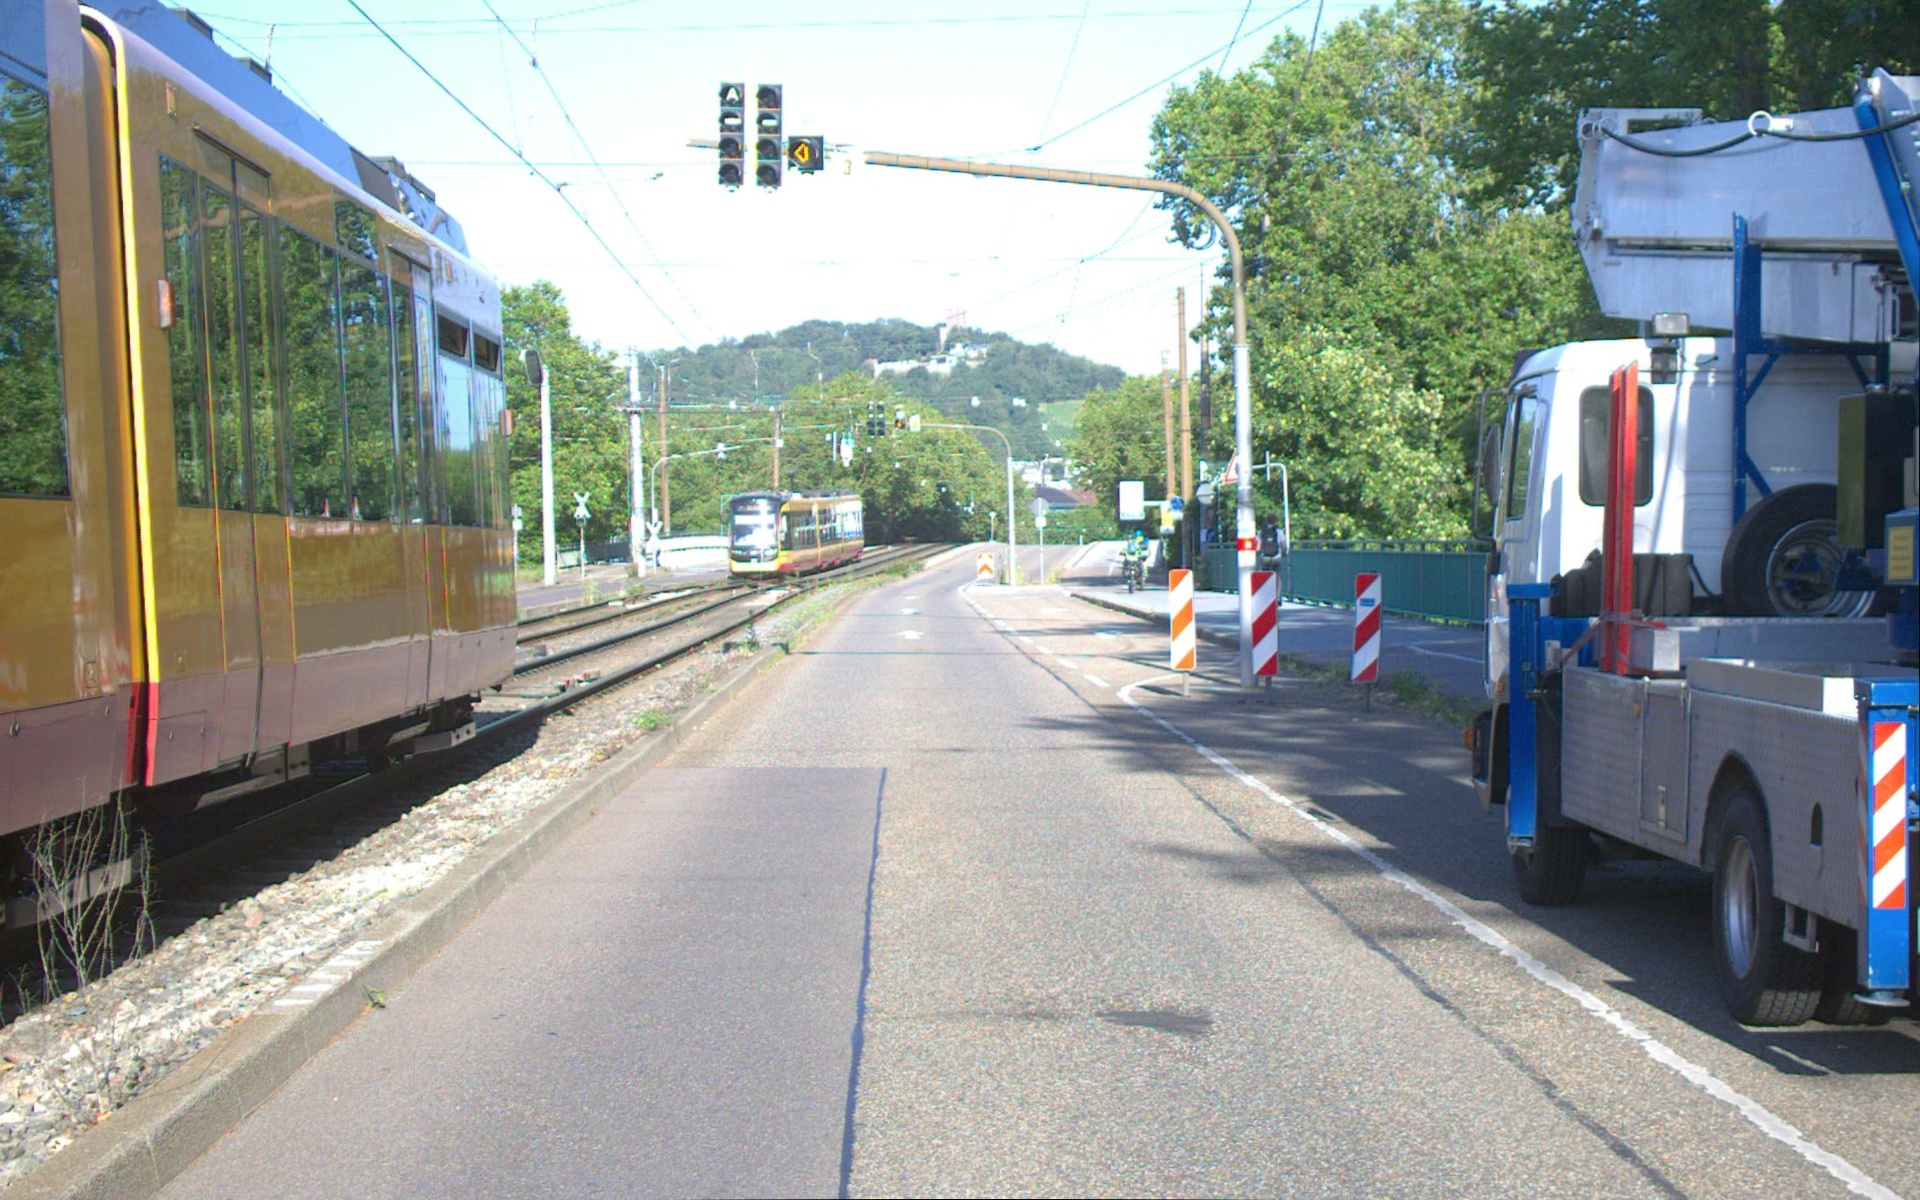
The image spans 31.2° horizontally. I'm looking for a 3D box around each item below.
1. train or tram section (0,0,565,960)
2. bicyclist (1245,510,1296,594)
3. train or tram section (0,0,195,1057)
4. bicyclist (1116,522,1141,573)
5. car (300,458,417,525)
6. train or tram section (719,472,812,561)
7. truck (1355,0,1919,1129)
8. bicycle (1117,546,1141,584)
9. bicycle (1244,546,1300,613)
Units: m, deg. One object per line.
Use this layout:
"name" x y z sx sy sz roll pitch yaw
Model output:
"train or tram section" -4.282 -0.823 18.944 2.719 4.075 12.814 -2 1 0
"bicyclist" 5.715 -0.885 63.303 0.824 1.515 0.975 -1 1 -1
"train or tram section" -4.170 -0.625 7.602 2.694 4.075 9.911 -2 1 0
"bicyclist" 4.642 -1.446 94.528 0.604 1.374 0.975 -1 1 -1
"car" -13.412 -2.395 76.899 1.767 1.408 4.912 -1 1 0
"train or tram section" -8.011 -3.455 142.867 2.644 3.554 10.832 -1 1 3
"truck" 3.611 -0.591 13.760 2.717 3.770 9.762 1 1 -1
"bicycle" 4.641 -0.967 94.494 0.515 1.038 1.975 -1 1 -1
"bicycle" 5.727 -0.386 63.242 0.727 1.172 2.695 -1 1 -1
